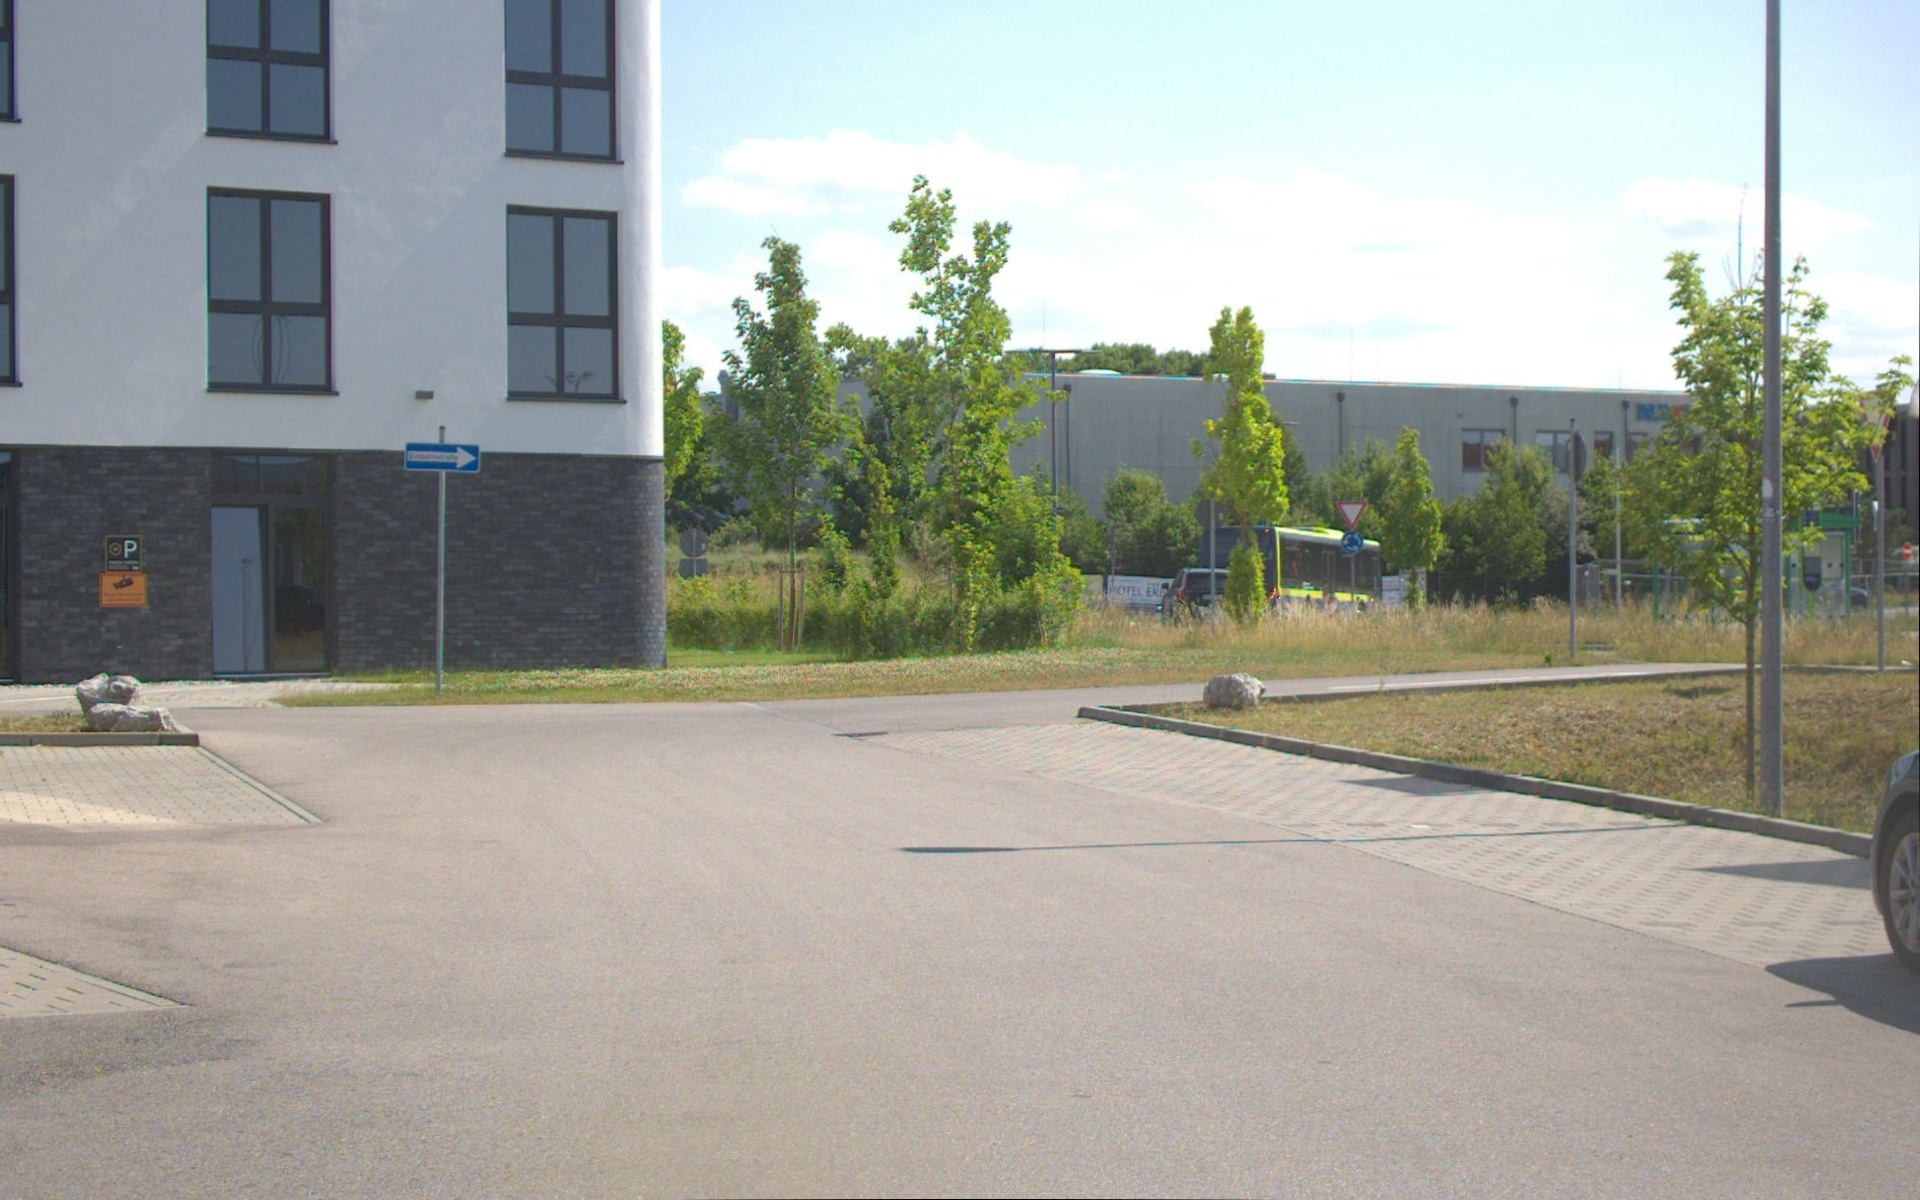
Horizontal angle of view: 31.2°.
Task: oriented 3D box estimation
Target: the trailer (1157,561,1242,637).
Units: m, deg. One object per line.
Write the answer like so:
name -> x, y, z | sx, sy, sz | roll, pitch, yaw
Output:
trailer -> 5.977, -0.042, 86.093 | 1.822, 1.853, 4.000 | 0, 1, 0

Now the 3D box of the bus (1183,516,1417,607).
bus -> 10.798, -1.247, 107.769 | 2.576, 2.726, 11.549 | 0, 1, 31

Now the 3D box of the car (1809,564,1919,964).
car -> 4.561, 0.613, 11.523 | 1.839, 1.444, 4.228 | 0, 1, -9

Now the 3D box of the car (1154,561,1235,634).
car -> 6.123, -0.085, 90.069 | 1.822, 1.853, 4.000 | 0, 1, 0
